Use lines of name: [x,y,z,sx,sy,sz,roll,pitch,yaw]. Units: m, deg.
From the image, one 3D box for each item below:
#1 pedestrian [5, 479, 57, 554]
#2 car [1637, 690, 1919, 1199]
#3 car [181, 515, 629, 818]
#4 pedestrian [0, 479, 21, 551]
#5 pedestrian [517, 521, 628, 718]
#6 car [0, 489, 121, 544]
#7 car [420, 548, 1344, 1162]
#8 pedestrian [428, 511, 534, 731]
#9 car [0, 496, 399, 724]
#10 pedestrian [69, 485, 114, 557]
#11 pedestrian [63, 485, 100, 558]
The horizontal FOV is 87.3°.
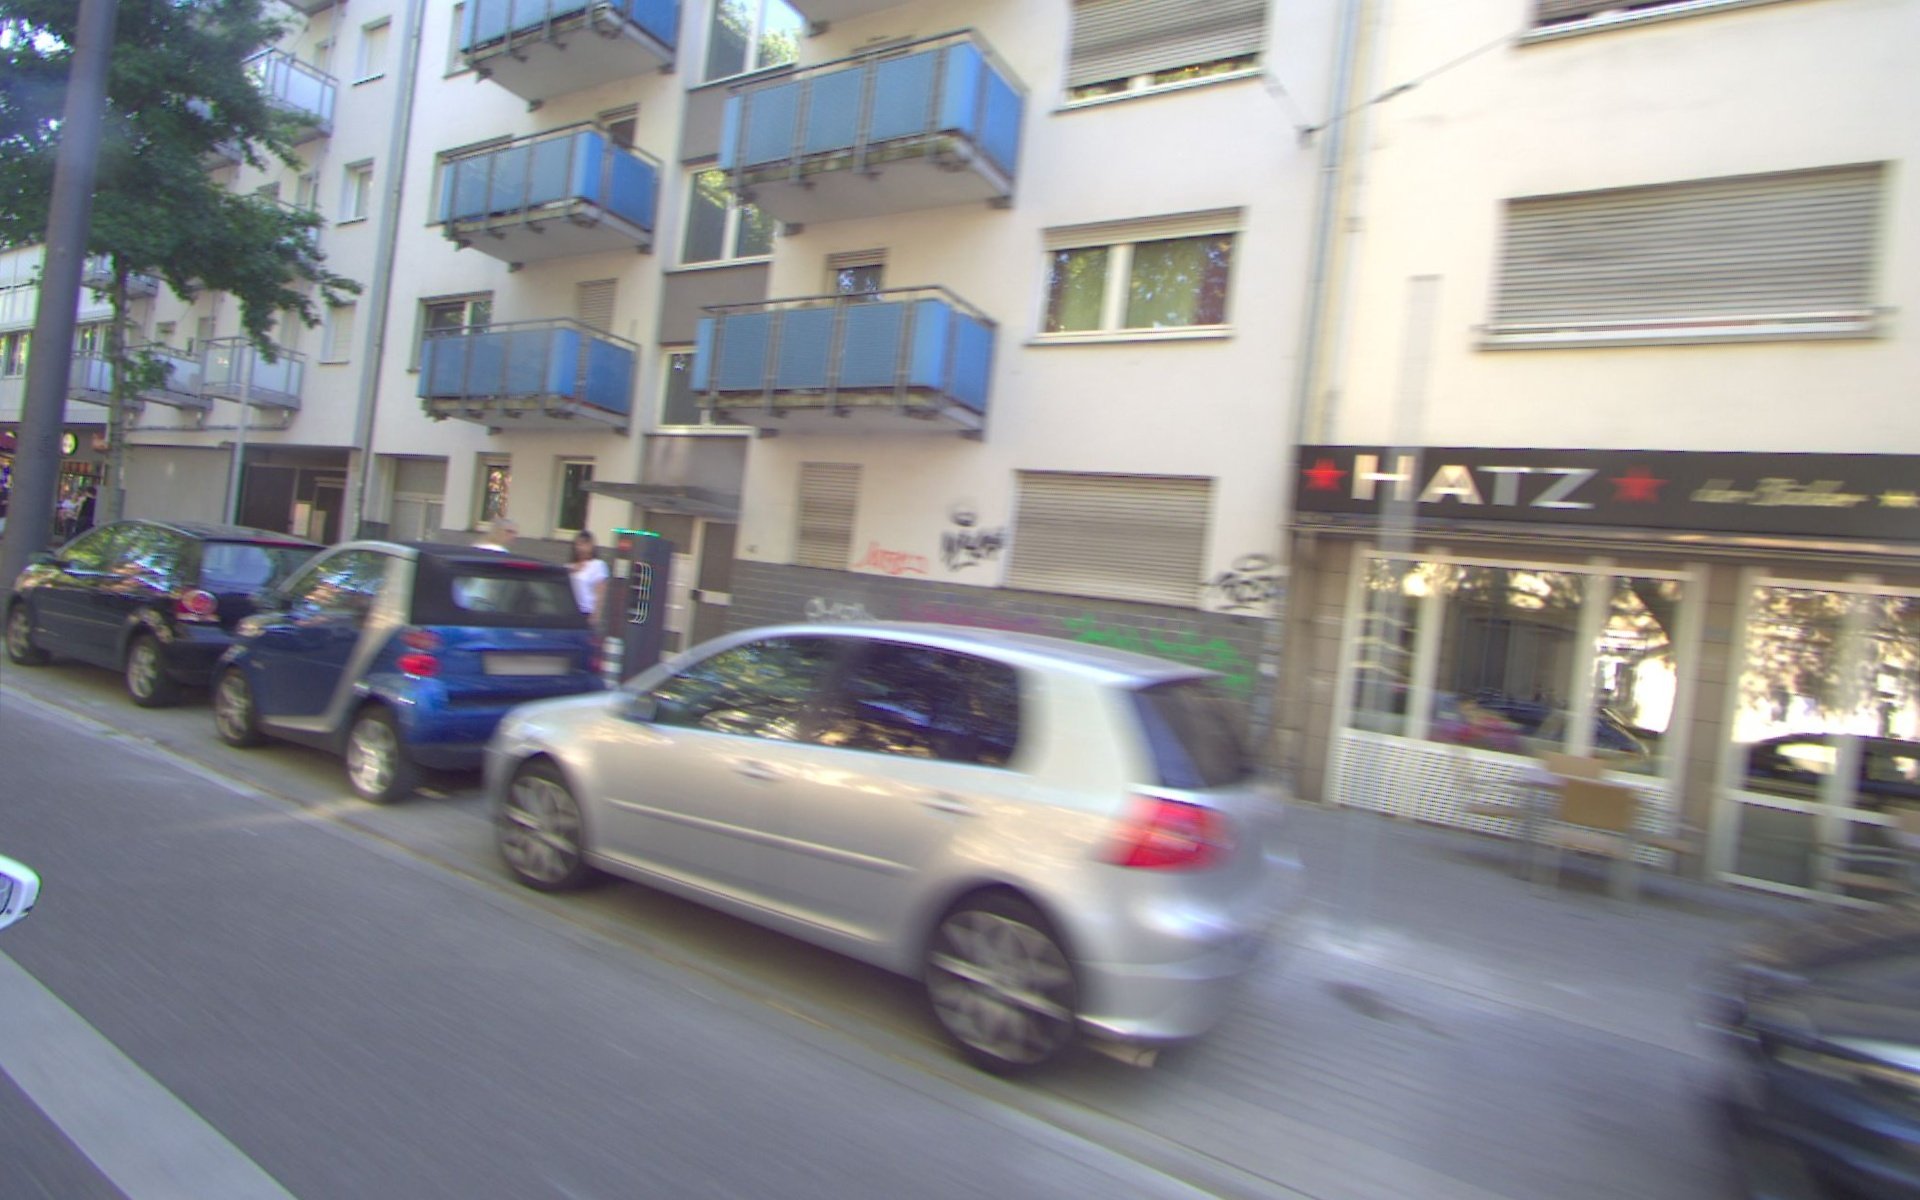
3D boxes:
pedestrian: [-22.631,-2.035,24.506,0.919,1.700,0.596,7,2,30]
car: [4.161,1.310,2.159,4.186,1.591,1.721,6,2,28]
car: [-3.918,0.355,7.041,2.833,1.557,1.445,7,1,31]
pedestrian: [-22.957,-2.047,23.894,0.855,1.659,0.642,7,2,30]
pedestrian: [-3.924,0.201,10.213,0.651,1.874,0.540,7,0,11]
car: [-37.706,-3.441,41.479,1.932,1.610,4.262,6,-2,26]
car: [-0.526,0.760,4.853,4.059,1.557,1.787,7,2,31]
pedestrian: [-4.317,0.176,9.070,0.652,1.878,0.476,6,5,22]
car: [-7.056,0.008,9.098,3.823,1.501,1.624,7,2,29]
pedestrian: [-23.528,-2.128,27.259,0.519,1.826,0.630,7,-1,-15]
pedestrian: [-22.894,-2.034,26.218,0.481,1.817,0.432,7,-1,31]
